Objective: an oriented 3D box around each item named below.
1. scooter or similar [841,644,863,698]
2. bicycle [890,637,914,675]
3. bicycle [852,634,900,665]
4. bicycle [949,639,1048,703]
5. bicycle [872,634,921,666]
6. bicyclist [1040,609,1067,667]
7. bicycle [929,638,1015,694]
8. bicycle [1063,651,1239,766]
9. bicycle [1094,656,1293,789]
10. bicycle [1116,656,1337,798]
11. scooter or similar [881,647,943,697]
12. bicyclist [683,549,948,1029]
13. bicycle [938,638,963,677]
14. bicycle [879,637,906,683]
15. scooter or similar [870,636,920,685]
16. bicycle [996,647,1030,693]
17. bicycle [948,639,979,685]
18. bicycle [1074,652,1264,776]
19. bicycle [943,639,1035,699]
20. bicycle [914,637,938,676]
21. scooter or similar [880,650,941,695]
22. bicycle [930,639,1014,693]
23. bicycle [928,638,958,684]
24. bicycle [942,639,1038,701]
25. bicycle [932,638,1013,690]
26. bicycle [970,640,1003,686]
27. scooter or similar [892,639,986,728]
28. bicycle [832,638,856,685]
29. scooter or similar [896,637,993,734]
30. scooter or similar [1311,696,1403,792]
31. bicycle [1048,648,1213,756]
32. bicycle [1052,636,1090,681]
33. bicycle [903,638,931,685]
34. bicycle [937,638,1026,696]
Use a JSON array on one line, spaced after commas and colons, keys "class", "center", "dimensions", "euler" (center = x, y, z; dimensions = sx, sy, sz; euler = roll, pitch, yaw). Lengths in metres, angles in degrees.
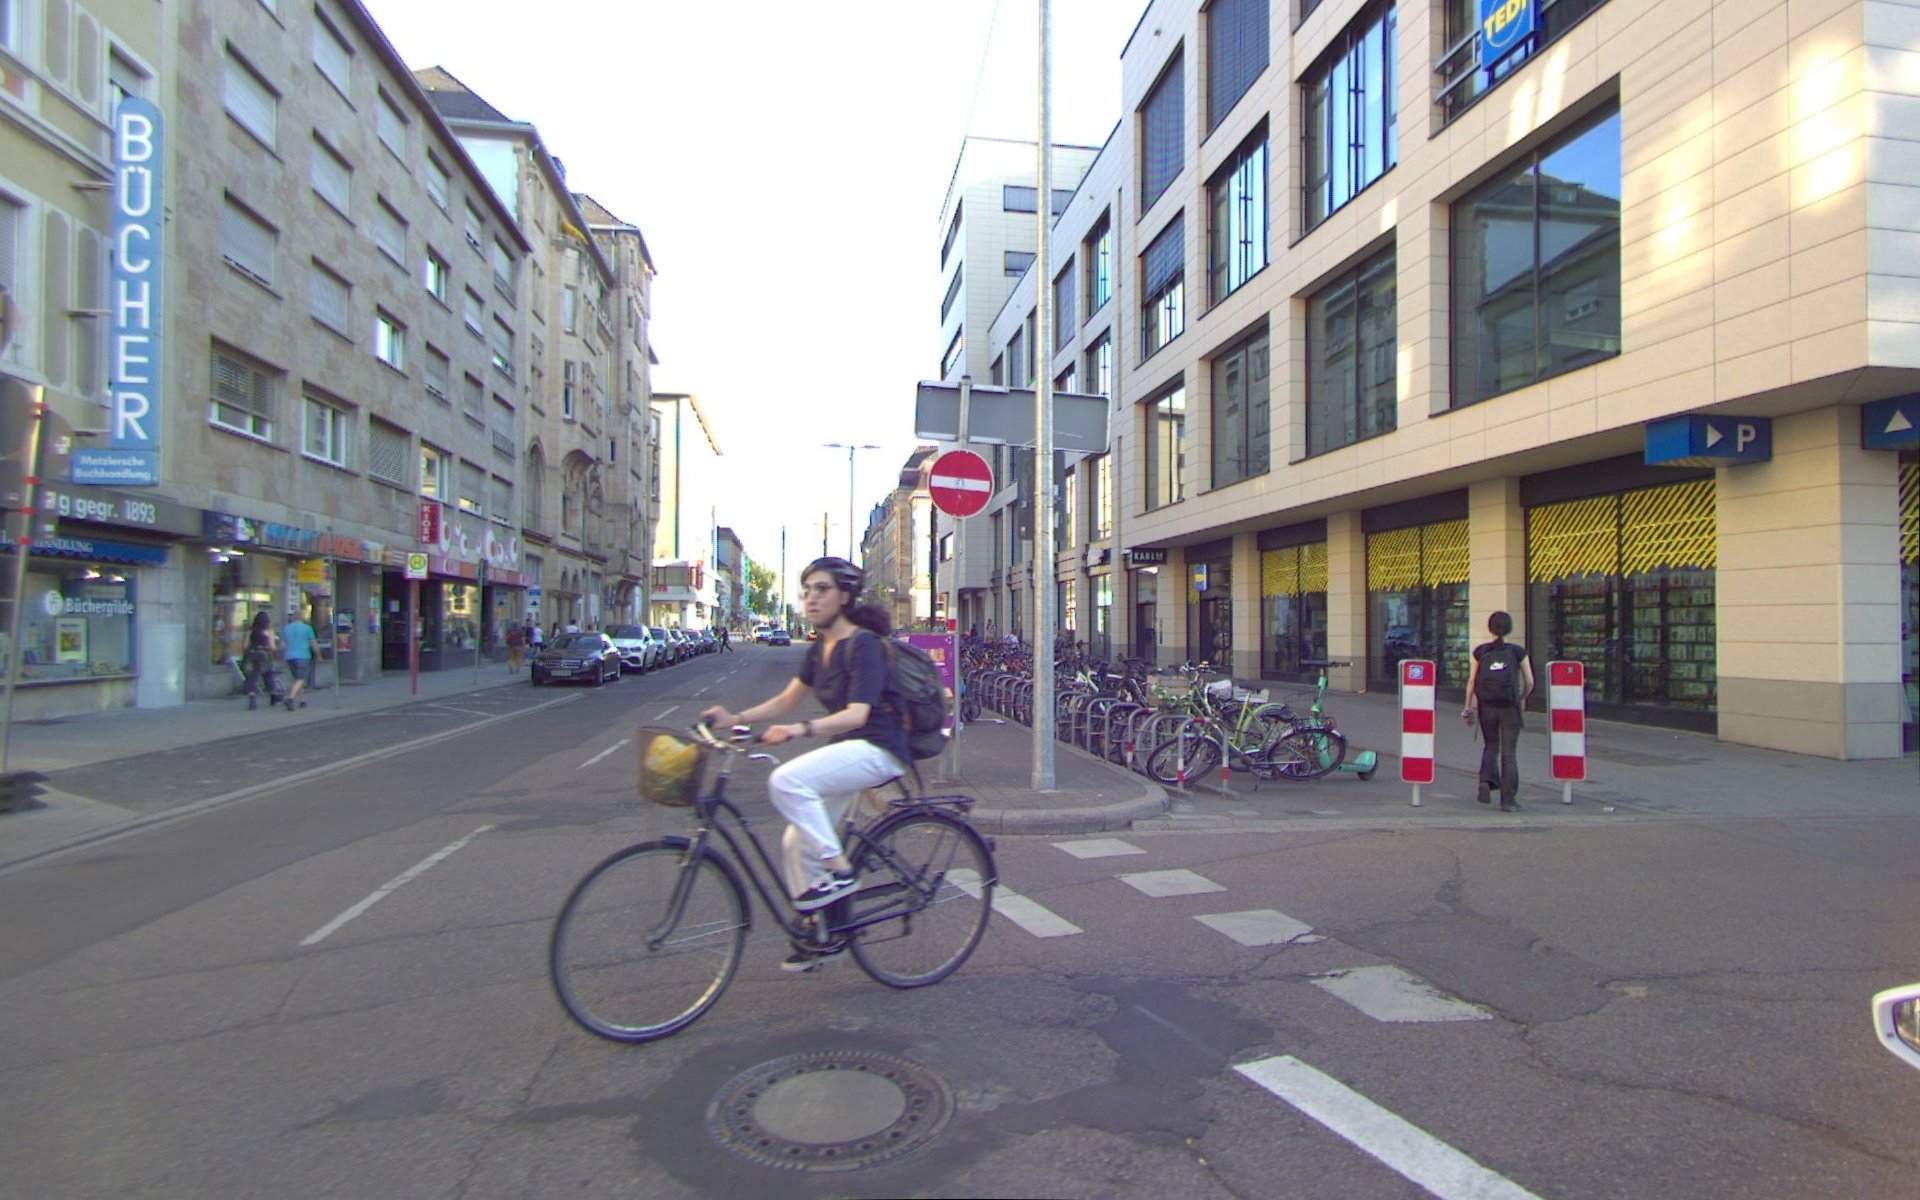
[{"class": "scooter or similar", "center": [-2.640, 1.709, 24.530], "dimensions": [0.506, 1.259, 1.270], "euler": [1, -1, -6]}, {"class": "bicycle", "center": [-2.033, 1.943, 35.030], "dimensions": [0.504, 1.271, 1.975], "euler": [1, -1, -12]}, {"class": "bicycle", "center": [-3.537, 2.112, 42.513], "dimensions": [1.948, 1.271, 0.511], "euler": [1, -1, -18]}, {"class": "bicycle", "center": [0.781, 1.455, 20.527], "dimensions": [1.944, 1.271, 0.512], "euler": [1, -1, -11]}, {"class": "bicycle", "center": [-2.627, 2.070, 41.597], "dimensions": [1.944, 1.271, 0.512], "euler": [1, -1, -11]}, {"class": "bicyclist", "center": [2.828, 1.139, 30.311], "dimensions": [0.672, 1.718, 0.643], "euler": [0, -1, -9]}, {"class": "bicycle", "center": [0.275, 1.548, 23.491], "dimensions": [1.944, 1.271, 0.512], "euler": [1, -1, -11]}, {"class": "bicycle", "center": [2.206, 1.240, 11.610], "dimensions": [1.944, 1.271, 0.512], "euler": [1, -1, -11]}, {"class": "bicycle", "center": [2.377, 1.224, 10.239], "dimensions": [1.945, 1.271, 0.512], "euler": [1, -1, -13]}, {"class": "bicycle", "center": [2.548, 1.189, 9.624], "dimensions": [2.009, 1.271, 0.581], "euler": [1, -1, -13]}, {"class": "scooter or similar", "center": [-1.003, 1.500, 20.940], "dimensions": [1.248, 1.005, 0.387], "euler": [1, -1, -11]}, {"class": "bicyclist", "center": [-0.565, 0.641, 3.796], "dimensions": [0.850, 1.591, 0.657], "euler": [1, -1, -21]}, {"class": "bicycle", "center": [-0.343, 1.998, 35.101], "dimensions": [0.504, 1.271, 1.975], "euler": [1, -1, -12]}, {"class": "bicycle", "center": [-1.969, 1.722, 29.128], "dimensions": [0.504, 1.271, 1.975], "euler": [1, -1, -12]}, {"class": "scooter or similar", "center": [-1.714, 1.579, 26.401], "dimensions": [1.248, 1.259, 0.387], "euler": [1, -1, -11]}, {"class": "bicycle", "center": [1.559, 2.034, 29.625], "dimensions": [0.504, 1.271, 1.975], "euler": [1, -1, -12]}, {"class": "bicycle", "center": [0.090, 1.811, 29.520], "dimensions": [0.504, 1.271, 1.975], "euler": [1, -1, -12]}, {"class": "bicycle", "center": [2.248, 1.222, 10.849], "dimensions": [1.943, 1.271, 0.512], "euler": [1, -1, -9]}, {"class": "bicycle", "center": [0.627, 1.506, 21.956], "dimensions": [1.944, 1.271, 0.512], "euler": [1, -1, -11]}, {"class": "bicycle", "center": [-1.194, 1.950, 35.058], "dimensions": [0.504, 1.271, 1.975], "euler": [1, -1, -12]}, {"class": "scooter or similar", "center": [-1.067, 1.557, 21.616], "dimensions": [1.248, 0.954, 0.387], "euler": [1, -1, -11]}, {"class": "bicycle", "center": [0.290, 1.591, 24.284], "dimensions": [1.944, 1.271, 0.512], "euler": [1, -1, -11]}, {"class": "bicycle", "center": [-0.524, 1.768, 29.370], "dimensions": [0.504, 1.271, 1.975], "euler": [1, -1, -12]}, {"class": "bicycle", "center": [0.633, 1.468, 21.140], "dimensions": [1.944, 1.271, 0.512], "euler": [1, -1, -11]}, {"class": "bicycle", "center": [0.308, 1.599, 25.093], "dimensions": [1.944, 1.271, 0.512], "euler": [1, -1, -11]}, {"class": "bicycle", "center": [0.766, 1.829, 29.633], "dimensions": [0.504, 1.271, 1.975], "euler": [1, -1, -12]}, {"class": "scooter or similar", "center": [-0.297, 1.168, 14.117], "dimensions": [1.248, 1.228, 0.387], "euler": [1, -1, -11]}, {"class": "bicycle", "center": [-3.343, 1.732, 28.791], "dimensions": [0.504, 1.271, 1.975], "euler": [1, -1, -12]}, {"class": "scooter or similar", "center": [-0.211, 1.153, 13.639], "dimensions": [1.248, 1.277, 0.387], "euler": [1, -1, -11]}, {"class": "scooter or similar", "center": [3.925, 1.418, 9.948], "dimensions": [0.756, 0.896, 0.387], "euler": [1, -1, -11]}, {"class": "bicycle", "center": [2.101, 1.247, 12.391], "dimensions": [1.944, 1.271, 0.512], "euler": [1, -1, -12]}, {"class": "bicycle", "center": [3.312, 1.743, 30.201], "dimensions": [0.601, 1.271, 1.976], "euler": [1, -1, -10]}, {"class": "bicycle", "center": [-1.262, 1.768, 29.234], "dimensions": [0.504, 1.271, 1.975], "euler": [1, -1, -12]}, {"class": "bicycle", "center": [0.491, 1.525, 22.773], "dimensions": [1.944, 1.271, 0.512], "euler": [1, -1, -11]}]
